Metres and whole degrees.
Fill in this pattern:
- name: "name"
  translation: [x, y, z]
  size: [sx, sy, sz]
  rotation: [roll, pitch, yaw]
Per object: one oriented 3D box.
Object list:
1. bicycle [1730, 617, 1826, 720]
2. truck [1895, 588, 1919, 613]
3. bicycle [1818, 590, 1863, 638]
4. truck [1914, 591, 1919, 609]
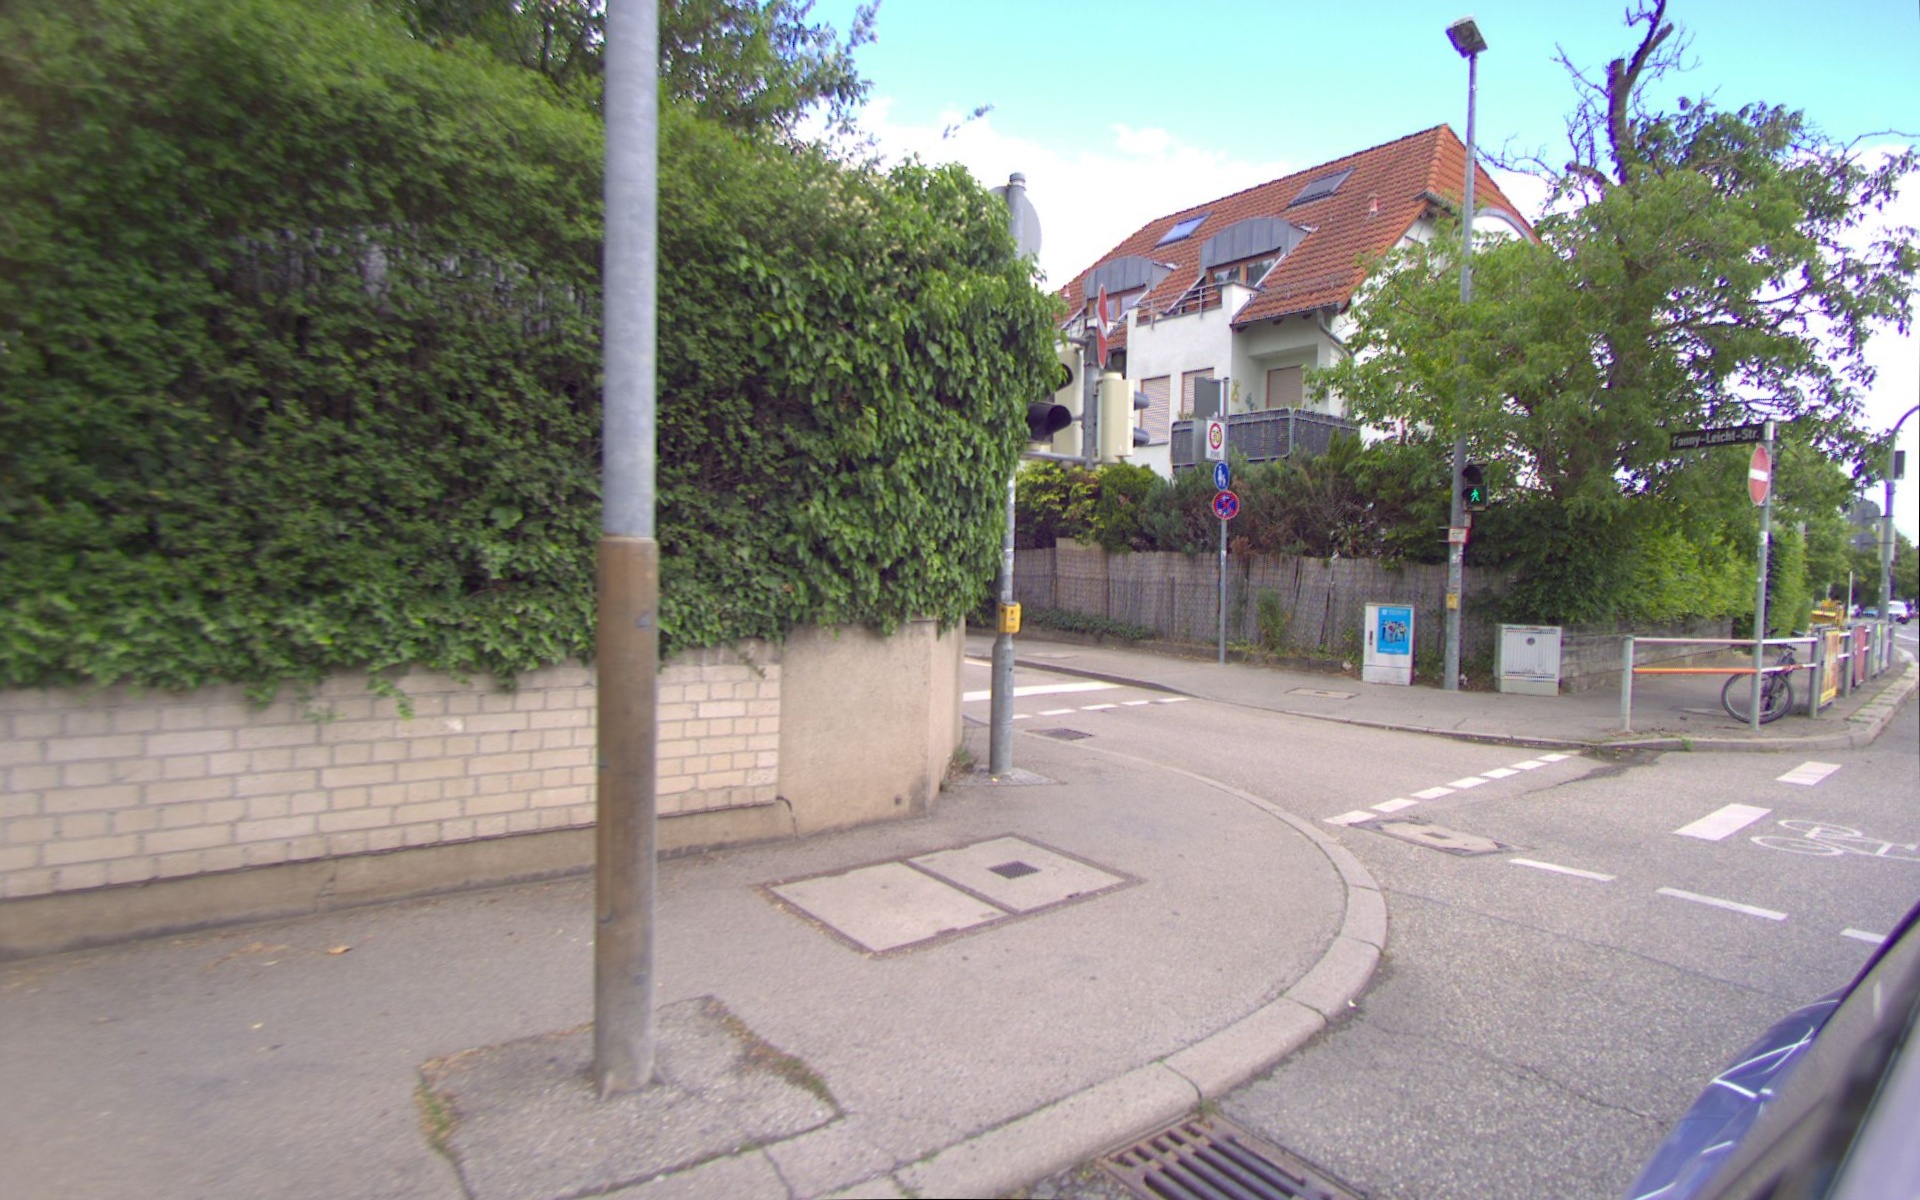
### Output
- name: "bicycle"
  translation: [9.308, 0.742, 11.506]
  size: [1.478, 1.041, 0.629]
  rotation: [0, 1, -42]
- name: "truck"
  translation: [75.012, 0.031, 79.814]
  size: [3.934, 1.812, 1.613]
  rotation: [0, 2, -44]
- name: "bicycle"
  translation: [30.660, 0.450, 35.226]
  size: [0.892, 1.528, 2.738]
  rotation: [7, 5, 45]
- name: "truck"
  translation: [93.586, -0.006, 97.974]
  size: [1.615, 1.679, 3.936]
  rotation: [3, 2, 44]
